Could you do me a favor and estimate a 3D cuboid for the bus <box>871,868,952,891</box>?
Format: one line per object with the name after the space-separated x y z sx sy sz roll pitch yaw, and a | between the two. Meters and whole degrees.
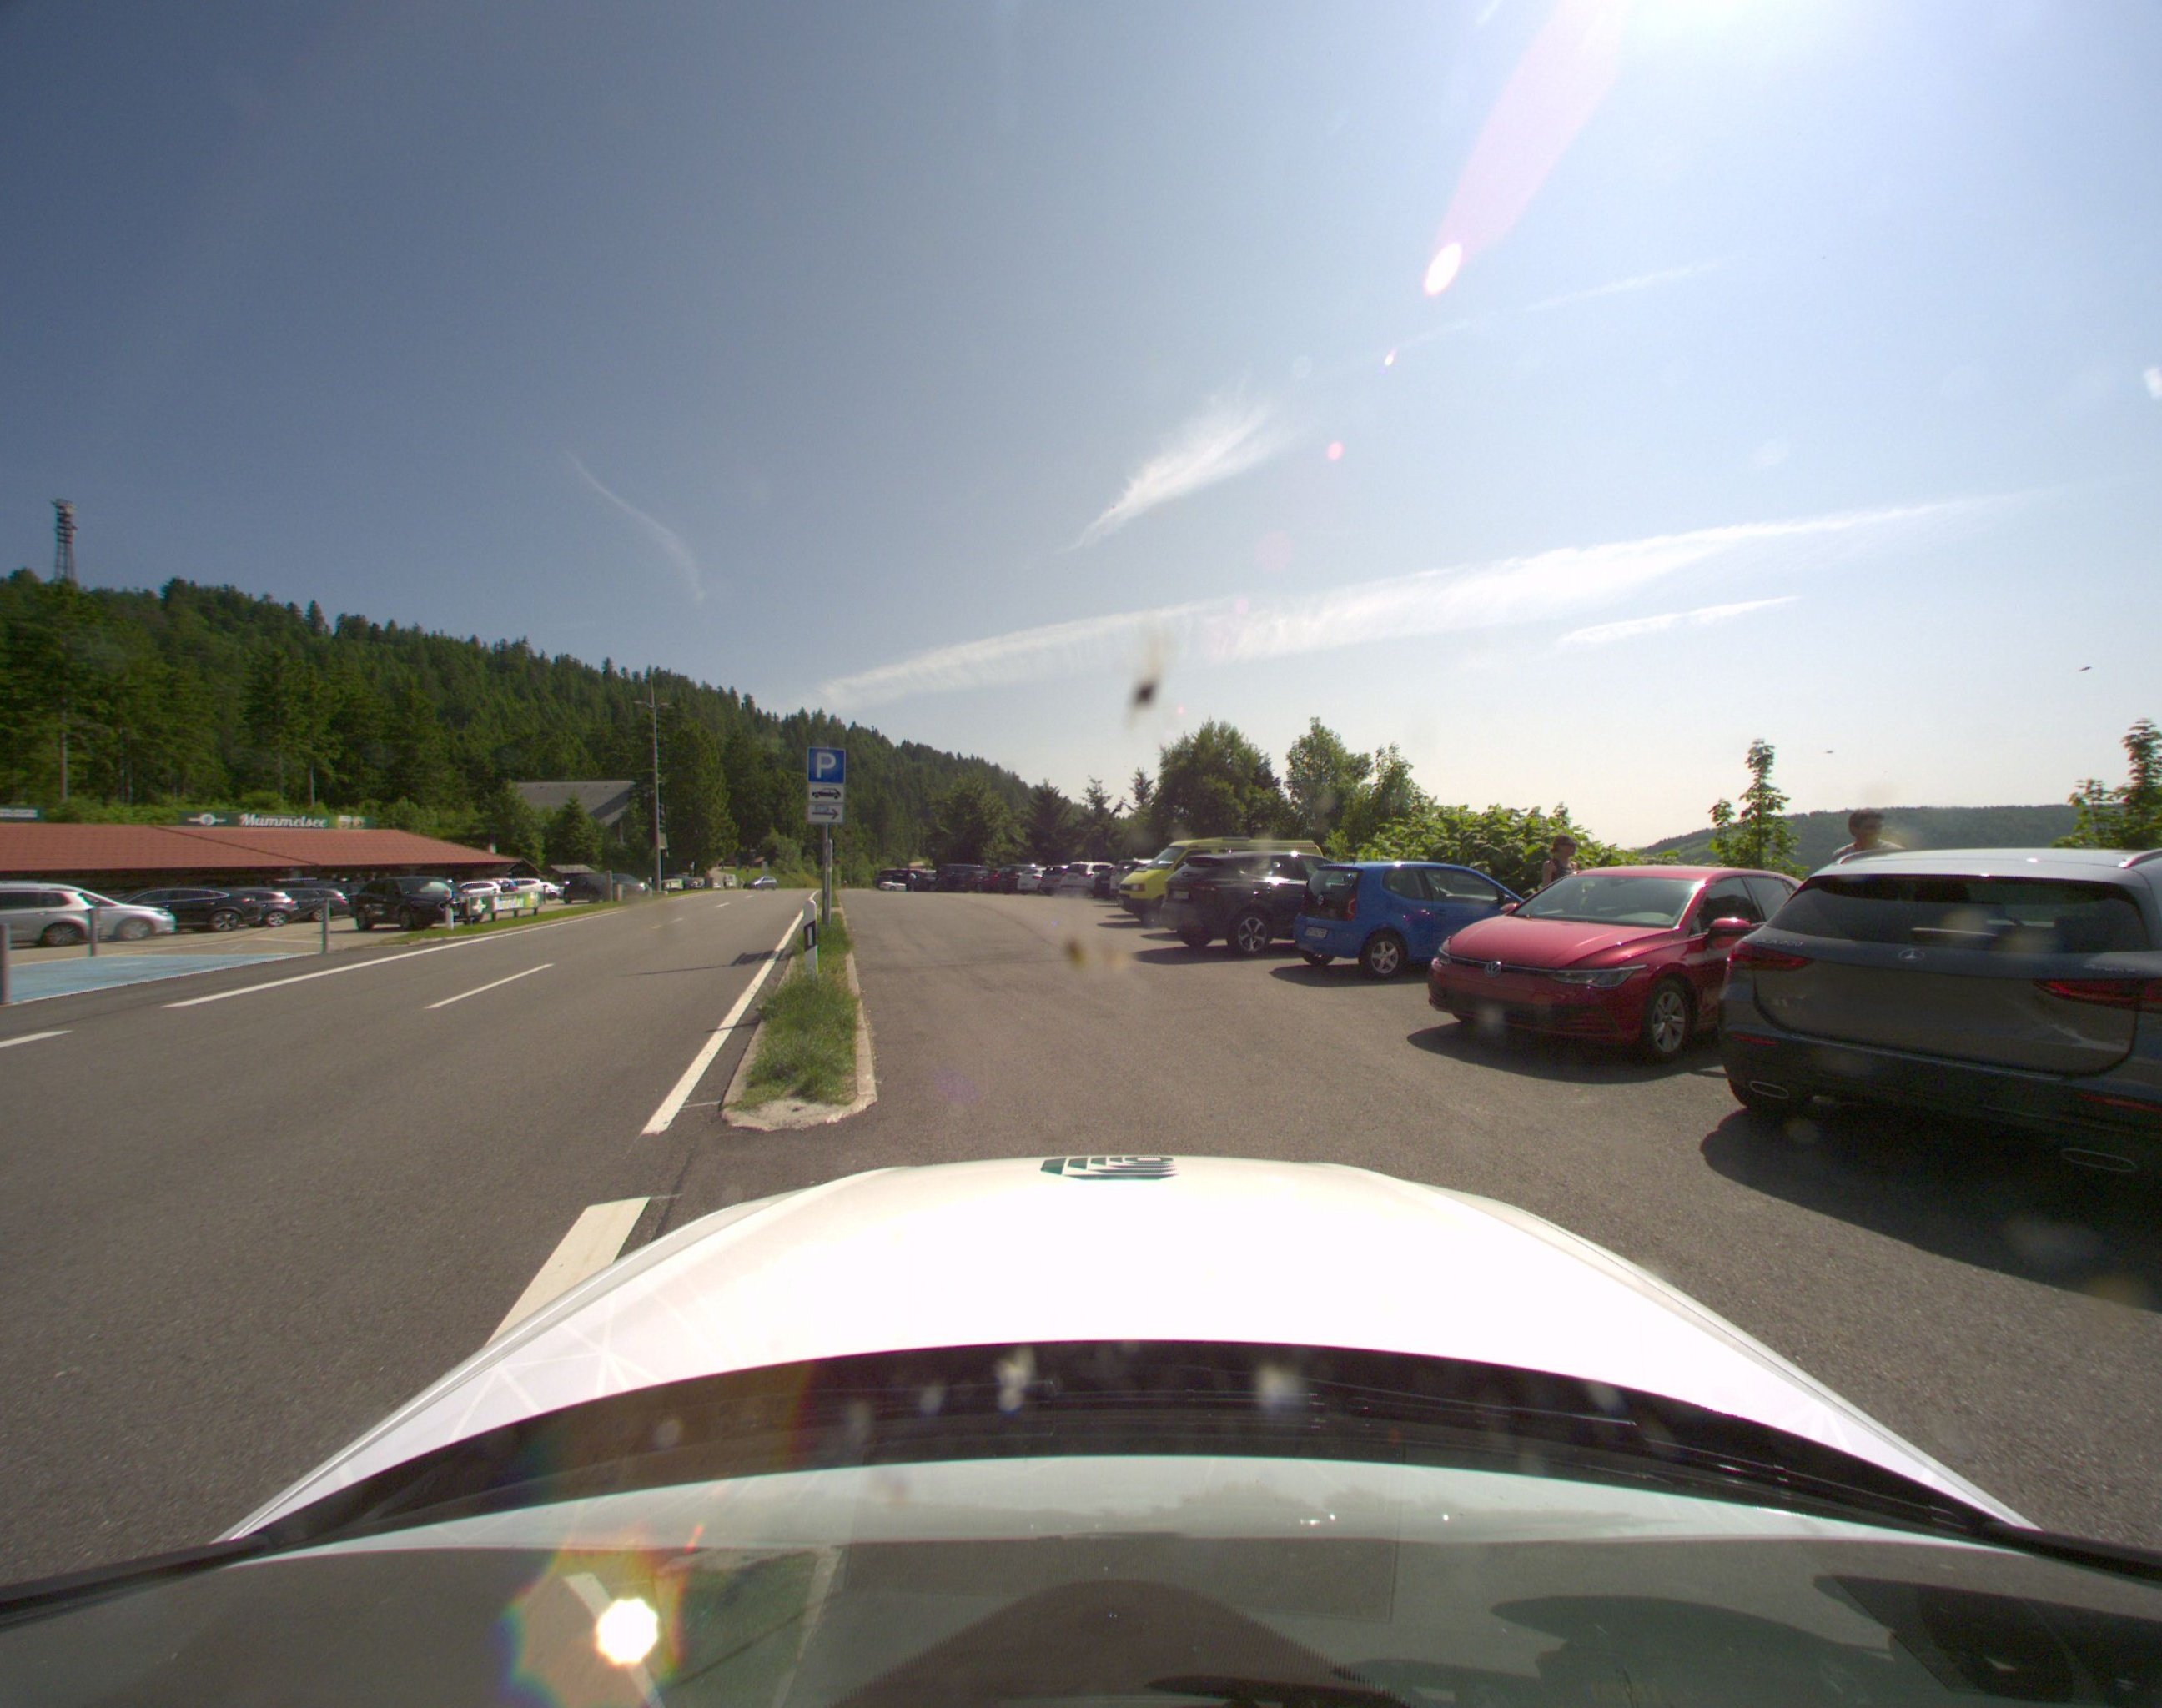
-28.200 4.185 136.065 12.821 3.578 2.981 -1 0 -1 | bus

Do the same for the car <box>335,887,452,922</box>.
-33.570 2.431 39.874 1.789 1.371 4.026 -2 0 36 | car

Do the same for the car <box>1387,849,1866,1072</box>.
4.883 0.747 7.251 4.008 1.510 1.826 1 0 -27 | car

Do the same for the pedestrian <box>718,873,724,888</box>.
-42.775 3.148 96.732 0.655 1.667 0.638 -1 -3 -24 | pedestrian

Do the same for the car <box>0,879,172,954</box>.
-29.485 1.769 23.131 1.812 1.863 4.559 -2 0 30 | car

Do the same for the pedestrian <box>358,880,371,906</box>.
-53.516 2.901 60.825 0.540 1.874 0.531 -2 -2 26 | pedestrian

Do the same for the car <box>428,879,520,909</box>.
-37.519 2.459 50.421 1.975 1.574 4.025 -3 0 28 | car

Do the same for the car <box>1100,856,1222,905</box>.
2.937 0.991 29.389 4.204 1.650 1.870 3 -3 -37 | car

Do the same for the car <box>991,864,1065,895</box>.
-3.009 1.505 47.270 1.965 1.695 4.300 -1 -3 35 | car

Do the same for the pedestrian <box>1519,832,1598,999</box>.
5.153 0.644 8.798 0.506 1.725 0.562 2 -2 -30 | pedestrian

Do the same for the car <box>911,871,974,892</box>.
-9.843 1.964 57.961 4.019 1.443 1.819 3 -3 -38 | car

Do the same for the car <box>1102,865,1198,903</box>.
2.856 1.218 33.271 3.825 1.459 1.643 3 -2 -40 | car

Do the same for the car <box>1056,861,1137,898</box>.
0.812 1.232 39.314 1.839 1.695 4.253 -1 -2 36 | car

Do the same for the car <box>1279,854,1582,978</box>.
4.717 0.785 11.119 3.588 1.496 1.639 1 0 -16 | car

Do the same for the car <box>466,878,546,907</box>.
-39.540 2.642 56.072 1.754 1.672 4.055 -4 -1 27 | car

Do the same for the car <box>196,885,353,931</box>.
-32.118 2.105 32.586 1.694 1.486 4.105 -2 0 28 | car

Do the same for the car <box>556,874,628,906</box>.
-26.215 1.930 43.642 3.948 1.552 1.794 -2 0 34 | car

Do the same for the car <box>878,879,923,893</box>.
-19.565 3.501 88.453 4.483 1.299 1.566 5 -4 -33 | car

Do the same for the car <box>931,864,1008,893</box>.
-7.556 1.687 55.203 4.793 1.880 1.945 3 -3 -36 | car

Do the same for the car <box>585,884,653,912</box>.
-28.301 2.699 49.835 4.008 1.567 1.751 -2 -1 29 | car

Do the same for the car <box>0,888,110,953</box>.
-28.432 1.785 21.012 1.974 1.545 4.025 -2 0 30 | car

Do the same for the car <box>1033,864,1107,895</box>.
-0.533 1.335 42.655 1.797 1.549 4.025 -1 -3 36 | car

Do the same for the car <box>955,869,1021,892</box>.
-5.990 1.740 52.797 4.022 1.415 1.723 3 -3 -44 | car

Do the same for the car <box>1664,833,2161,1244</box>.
5.722 0.734 4.862 4.421 1.568 1.890 1 -1 -28 | car

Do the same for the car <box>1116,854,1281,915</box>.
3.395 0.838 23.535 4.365 1.487 1.800 -2 0 -20 | car

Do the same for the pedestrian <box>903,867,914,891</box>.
-12.903 1.900 61.037 0.576 1.761 0.634 1 -3 6 | pedestrian

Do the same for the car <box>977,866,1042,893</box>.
-4.402 1.607 50.565 1.839 1.590 4.025 -1 -3 36 | car

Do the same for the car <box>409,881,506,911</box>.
-36.412 2.431 47.659 1.883 1.420 4.025 -3 0 28 | car

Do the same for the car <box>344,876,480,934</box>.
-20.149 1.492 24.501 4.138 1.540 1.819 -2 0 31 | car

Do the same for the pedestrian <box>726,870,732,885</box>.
-42.041 2.838 97.222 0.655 1.799 0.638 -1 0 -24 | pedestrian

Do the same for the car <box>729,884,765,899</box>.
-36.813 4.173 89.854 1.565 1.428 3.392 -2 0 26 | car

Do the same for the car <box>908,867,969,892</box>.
-10.634 1.913 60.924 4.021 1.662 1.975 6 -6 -44 | car

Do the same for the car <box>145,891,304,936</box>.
-31.122 2.119 29.707 1.568 1.321 3.661 -2 0 26 | car

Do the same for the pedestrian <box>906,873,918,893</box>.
-12.225 2.108 59.015 0.774 1.402 0.666 -2 0 -11 | pedestrian

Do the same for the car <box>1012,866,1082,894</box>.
-1.860 1.490 45.503 1.745 1.476 4.025 -1 -3 36 | car

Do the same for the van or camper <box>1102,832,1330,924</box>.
3.229 0.588 19.675 5.098 2.014 1.872 2 -1 -15 | van or camper

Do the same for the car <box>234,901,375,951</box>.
-33.165 3.021 34.905 1.802 1.704 4.026 -2 0 33 | car

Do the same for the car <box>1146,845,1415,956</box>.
3.283 0.696 13.476 4.003 1.613 1.902 0 -1 -22 | car

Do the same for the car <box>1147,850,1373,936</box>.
3.562 0.739 16.397 4.156 1.589 1.697 0 -1 -14 | car

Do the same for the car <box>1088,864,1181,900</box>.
2.399 1.244 35.826 1.871 1.461 4.075 -1 -3 44 | car

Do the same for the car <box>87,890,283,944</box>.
-29.787 2.034 27.227 1.890 1.430 4.024 -2 0 27 | car

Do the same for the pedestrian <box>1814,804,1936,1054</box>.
6.445 0.577 6.646 0.602 1.900 0.683 0 -2 36 | pedestrian

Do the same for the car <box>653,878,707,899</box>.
-33.742 2.940 68.544 4.160 1.634 1.799 -2 -2 22 | car
